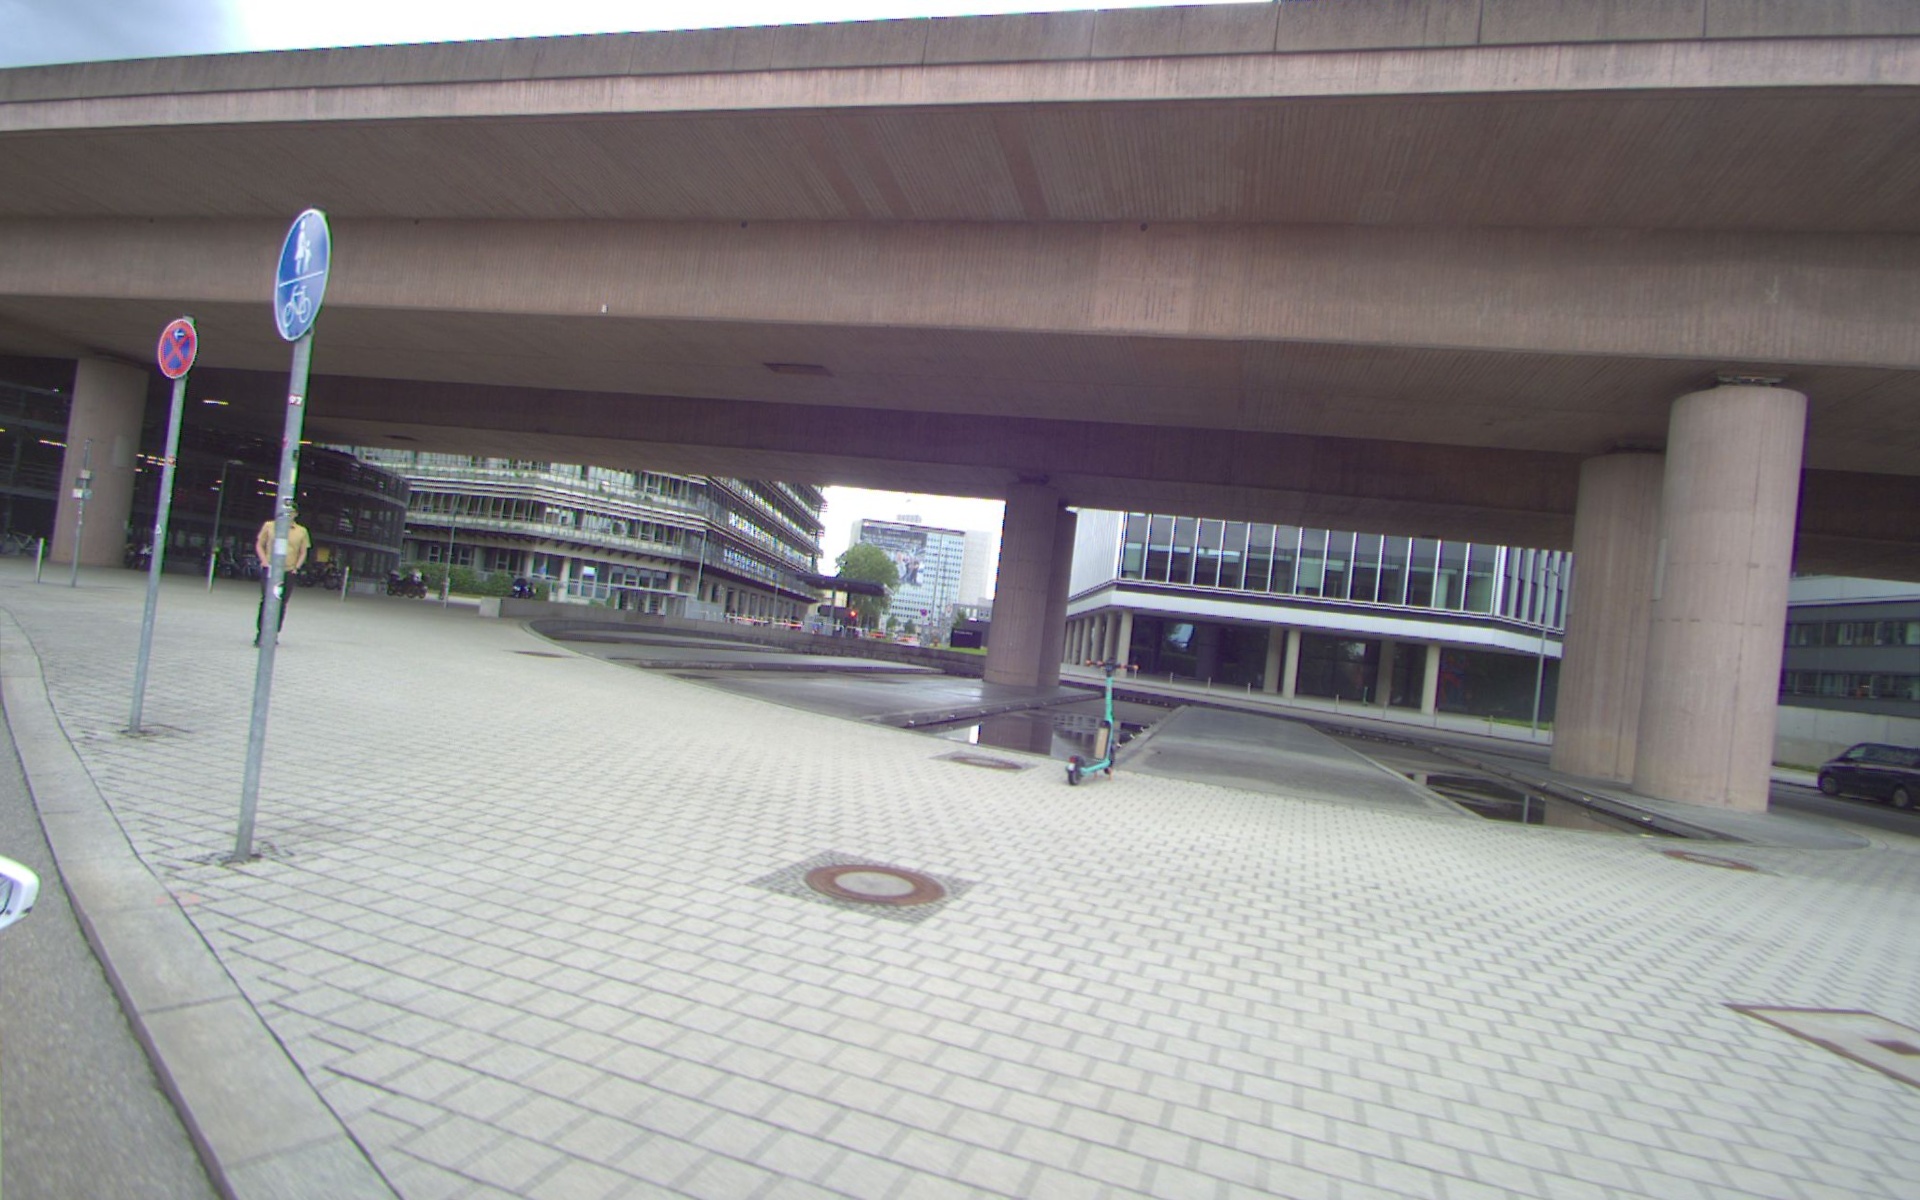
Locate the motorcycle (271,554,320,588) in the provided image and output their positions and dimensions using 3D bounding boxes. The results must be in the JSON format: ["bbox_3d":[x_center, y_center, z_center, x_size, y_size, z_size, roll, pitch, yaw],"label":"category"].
[{"bbox_3d":[-30.008,-1.319,45.425,2.040,1.234,0.674,8,-1,20],"label":"motorcycle"}]

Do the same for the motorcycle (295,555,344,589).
[{"bbox_3d":[-29.636,-1.293,46.564,2.040,1.301,0.674,8,-1,20],"label":"motorcycle"}]

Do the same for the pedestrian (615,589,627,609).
[{"bbox_3d":[-27.414,-0.098,81.395,0.488,1.499,0.544,8,0,31],"label":"pedestrian"}]

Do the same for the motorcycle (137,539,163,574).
[{"bbox_3d":[-29.888,-1.606,37.109,0.517,1.183,1.141,8,-4,-34],"label":"motorcycle"}]

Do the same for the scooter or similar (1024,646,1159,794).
[{"bbox_3d":[1.350,1.177,10.071,0.510,1.312,1.645,8,0,34],"label":"scooter or similar"}]

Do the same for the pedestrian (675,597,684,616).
[{"bbox_3d":[-22.253,0.525,79.885,0.489,1.499,0.543,8,0,-12],"label":"pedestrian"}]

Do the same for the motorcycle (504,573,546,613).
[{"bbox_3d":[-15.398,-0.236,35.653,0.538,1.279,1.941,8,-1,-2],"label":"motorcycle"}]

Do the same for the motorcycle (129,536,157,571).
[{"bbox_3d":[-32.500,-1.842,40.022,1.133,1.234,0.520,8,-1,38],"label":"motorcycle"}]

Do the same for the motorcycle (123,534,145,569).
[{"bbox_3d":[-31.733,-1.869,38.651,0.518,1.234,1.137,8,-1,-40],"label":"motorcycle"}]

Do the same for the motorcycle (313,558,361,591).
[{"bbox_3d":[-29.419,-1.216,47.520,2.040,1.234,0.674,8,-1,20],"label":"motorcycle"}]

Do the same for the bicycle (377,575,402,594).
[{"bbox_3d":[-30.740,-0.849,54.224,0.467,0.906,1.504,8,-1,-5],"label":"bicycle"}]

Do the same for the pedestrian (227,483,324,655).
[{"bbox_3d":[-8.802,-0.400,12.971,0.777,2.037,1.030,8,-1,-33],"label":"pedestrian"}]

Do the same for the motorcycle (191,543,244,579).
[{"bbox_3d":[-31.298,-1.653,42.415,2.040,1.234,0.674,8,-1,20],"label":"motorcycle"}]

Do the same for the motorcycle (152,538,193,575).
[{"bbox_3d":[-31.432,-1.750,40.134,2.050,1.234,0.829,7,-1,42],"label":"motorcycle"}]

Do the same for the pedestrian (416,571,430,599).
[{"bbox_3d":[-41.105,-1.169,76.985,0.564,2.036,0.528,6,-2,29],"label":"pedestrian"}]

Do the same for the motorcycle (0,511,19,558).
[{"bbox_3d":[-32.201,-2.259,33.119,1.729,1.472,0.644,8,0,4],"label":"motorcycle"}]

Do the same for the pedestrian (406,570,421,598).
[{"bbox_3d":[-41.488,-1.247,76.384,0.564,2.036,0.529,6,-2,27],"label":"pedestrian"}]

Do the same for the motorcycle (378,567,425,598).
[{"bbox_3d":[-28.927,-0.899,52.110,2.319,1.290,0.674,8,-1,20],"label":"motorcycle"}]

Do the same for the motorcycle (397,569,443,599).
[{"bbox_3d":[-28.754,-0.852,53.571,2.319,1.234,0.674,8,-1,20],"label":"motorcycle"}]

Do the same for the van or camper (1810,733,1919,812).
[{"bbox_3d":[28.818,5.348,30.591,2.113,1.914,4.907,8,-1,10],"label":"van or camper"}]

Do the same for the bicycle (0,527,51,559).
[{"bbox_3d":[-35.696,-2.167,38.344,0.446,0.987,1.469,8,-1,45],"label":"bicycle"}]

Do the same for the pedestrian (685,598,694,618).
[{"bbox_3d":[-21.575,0.636,80.203,0.489,1.499,0.543,8,0,-12],"label":"pedestrian"}]

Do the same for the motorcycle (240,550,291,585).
[{"bbox_3d":[-30.684,-1.432,44.450,2.040,1.234,0.674,8,-1,20],"label":"motorcycle"}]

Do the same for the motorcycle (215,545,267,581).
[{"bbox_3d":[-30.984,-1.588,43.365,2.040,1.234,0.674,8,-1,20],"label":"motorcycle"}]
